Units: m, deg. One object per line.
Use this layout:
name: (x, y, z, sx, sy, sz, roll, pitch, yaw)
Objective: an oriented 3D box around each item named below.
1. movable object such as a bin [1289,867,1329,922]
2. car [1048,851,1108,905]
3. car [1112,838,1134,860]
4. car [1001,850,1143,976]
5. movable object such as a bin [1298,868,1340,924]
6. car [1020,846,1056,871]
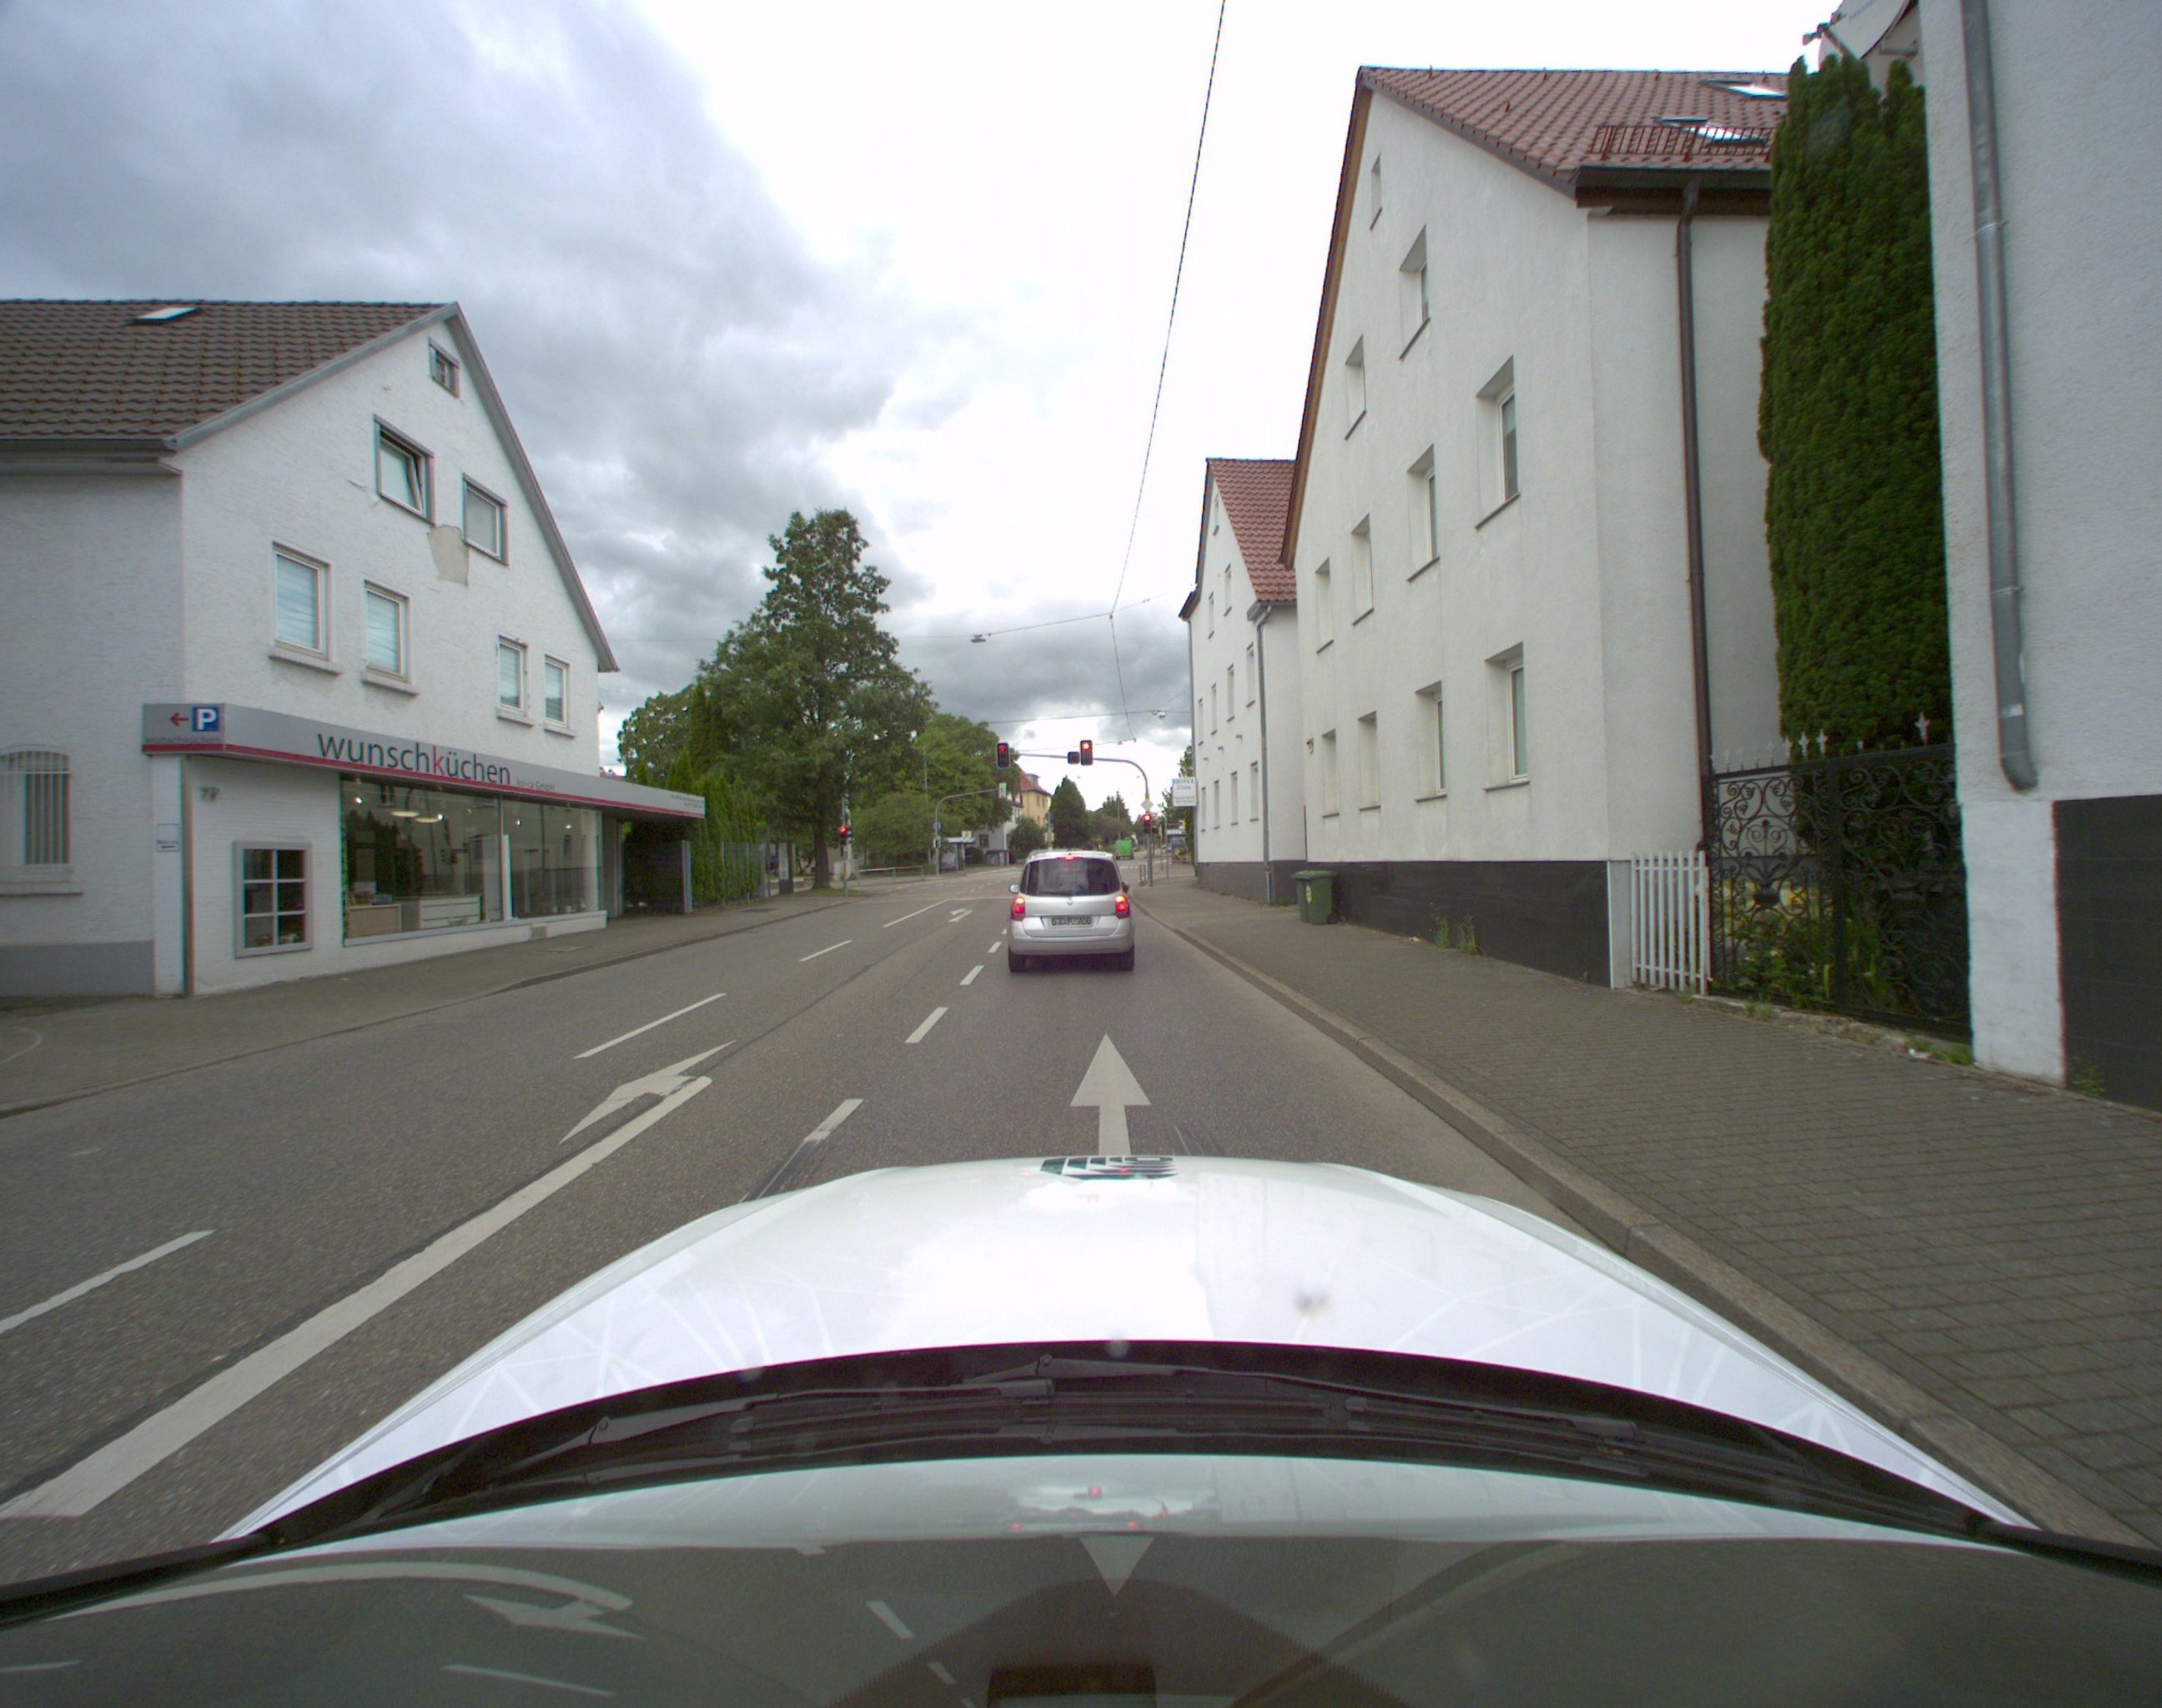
movable object such as a bin: (4.199, 0.740, 15.047, 0.538, 0.941, 0.487, -4, 0, -1)
car: (-0.117, 0.711, 25.744, 1.750, 1.530, 3.795, -1, 0, -1)
car: (5.005, -0.589, 96.366, 2.048, 2.512, 5.606, -1, 0, 7)
car: (-0.140, 0.743, 12.129, 1.750, 1.530, 3.998, -1, 0, -1)
movable object such as a bin: (4.228, 0.737, 14.512, 0.538, 0.941, 0.487, -4, 0, -1)
car: (-3.461, 0.349, 66.249, 1.914, 1.773, 4.011, -6, 0, 10)
